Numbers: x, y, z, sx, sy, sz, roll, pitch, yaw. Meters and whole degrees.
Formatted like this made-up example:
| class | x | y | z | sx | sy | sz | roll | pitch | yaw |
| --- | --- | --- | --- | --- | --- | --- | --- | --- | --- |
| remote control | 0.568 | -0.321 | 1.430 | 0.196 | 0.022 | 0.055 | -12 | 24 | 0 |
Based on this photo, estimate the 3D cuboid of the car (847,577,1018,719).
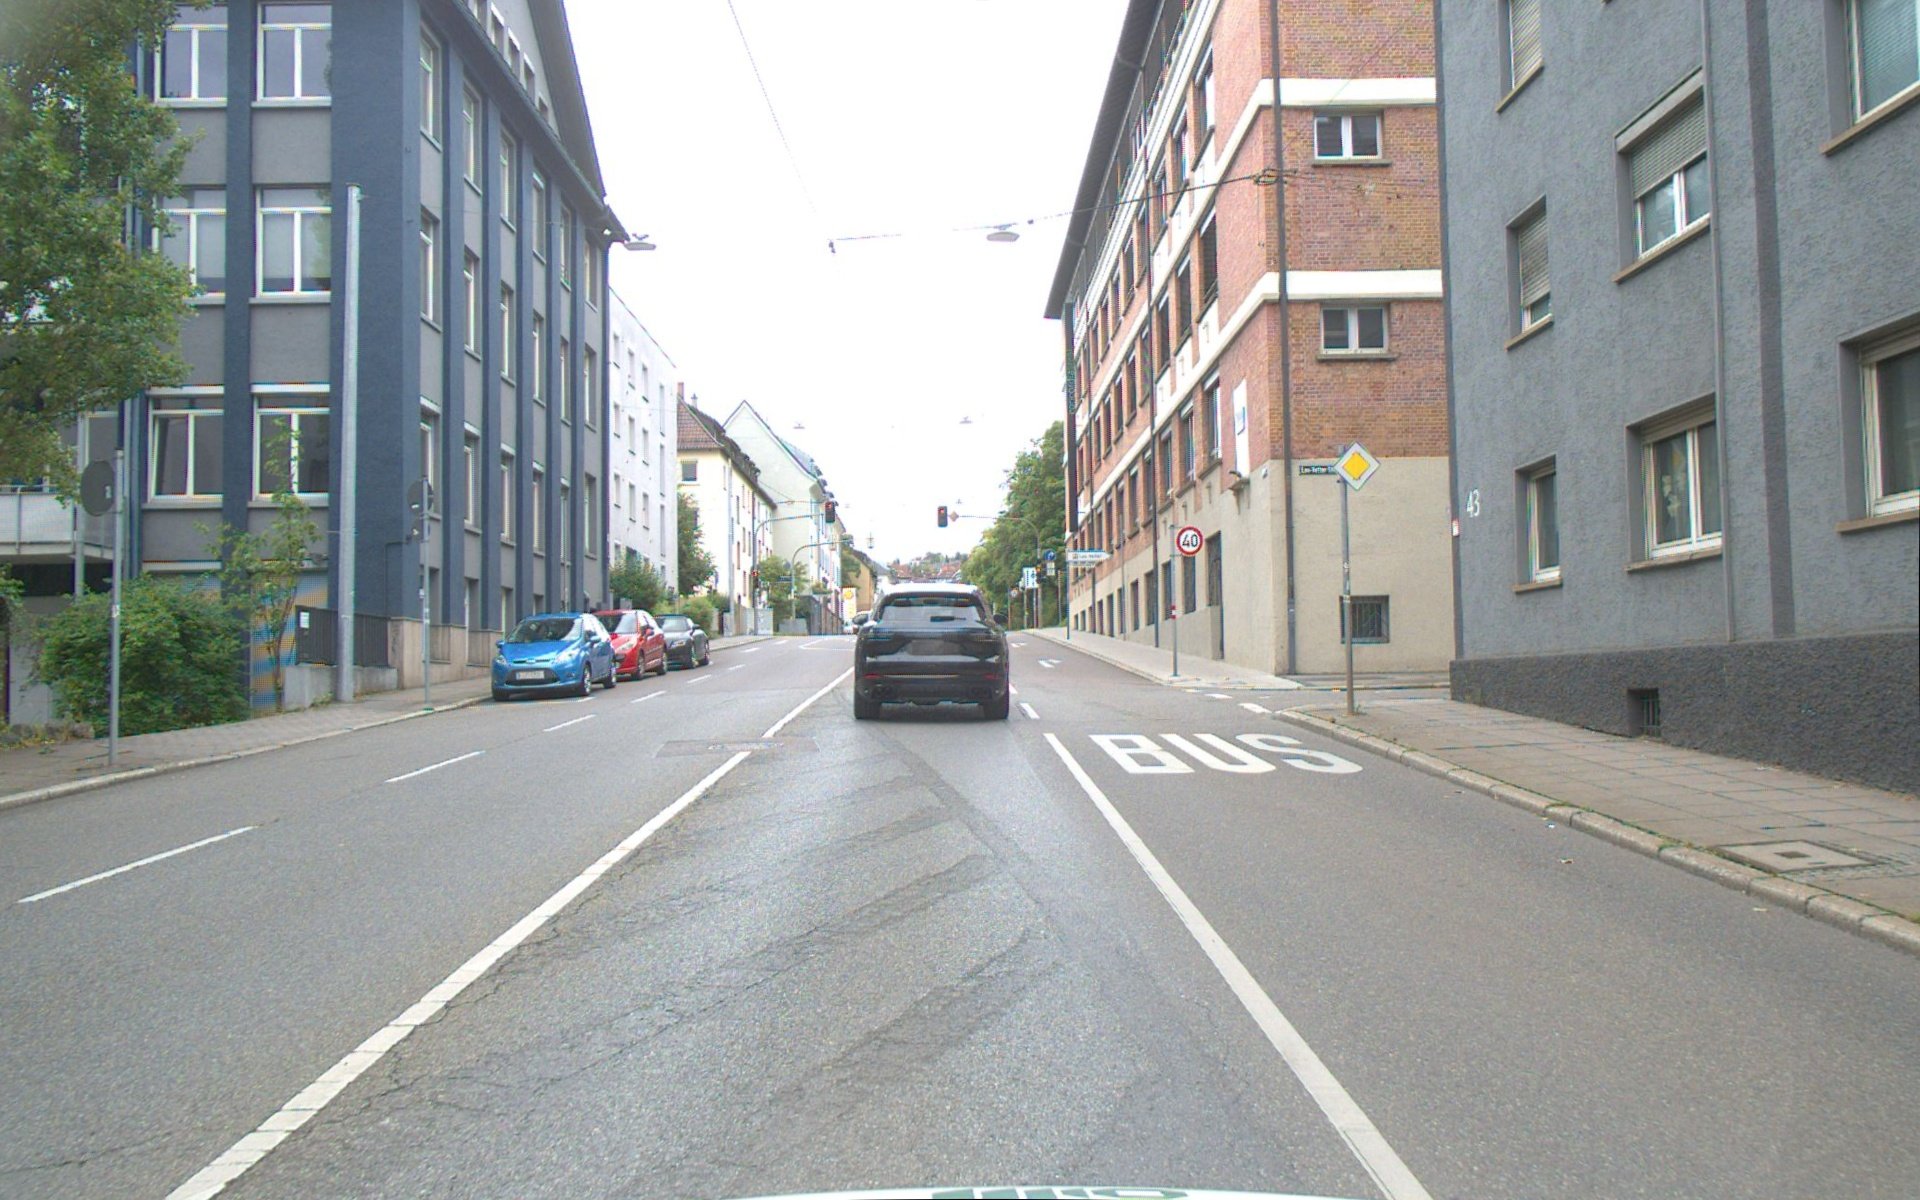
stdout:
| class | x | y | z | sx | sy | sz | roll | pitch | yaw |
| --- | --- | --- | --- | --- | --- | --- | --- | --- | --- |
| car | -0.469 | 0.575 | 21.883 | 1.984 | 1.670 | 4.352 | 1 | 0 | -5 |

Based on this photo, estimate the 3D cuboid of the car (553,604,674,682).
| class | x | y | z | sx | sy | sz | roll | pitch | yaw |
| --- | --- | --- | --- | --- | --- | --- | --- | --- | --- |
| car | -7.464 | 0.884 | 35.994 | 1.679 | 1.482 | 3.989 | -3 | 0 | 0 |

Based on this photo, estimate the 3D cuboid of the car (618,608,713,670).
| class | x | y | z | sx | sy | sz | roll | pitch | yaw |
| --- | --- | --- | --- | --- | --- | --- | --- | --- | --- |
| car | -7.363 | 0.940 | 41.726 | 1.679 | 1.364 | 3.903 | -3 | 0 | -1 |

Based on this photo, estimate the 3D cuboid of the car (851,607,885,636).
| class | x | y | z | sx | sy | sz | roll | pitch | yaw |
| --- | --- | --- | --- | --- | --- | --- | --- | --- | --- |
| car | -5.981 | 1.365 | 108.369 | 1.859 | 1.721 | 4.000 | -3 | 0 | 1 |

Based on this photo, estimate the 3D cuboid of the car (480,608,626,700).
| class | x | y | z | sx | sy | sz | roll | pitch | yaw |
| --- | --- | --- | --- | --- | --- | --- | --- | --- | --- |
| car | -7.398 | 0.935 | 30.439 | 1.679 | 1.448 | 3.989 | -3 | 0 | -1 |
